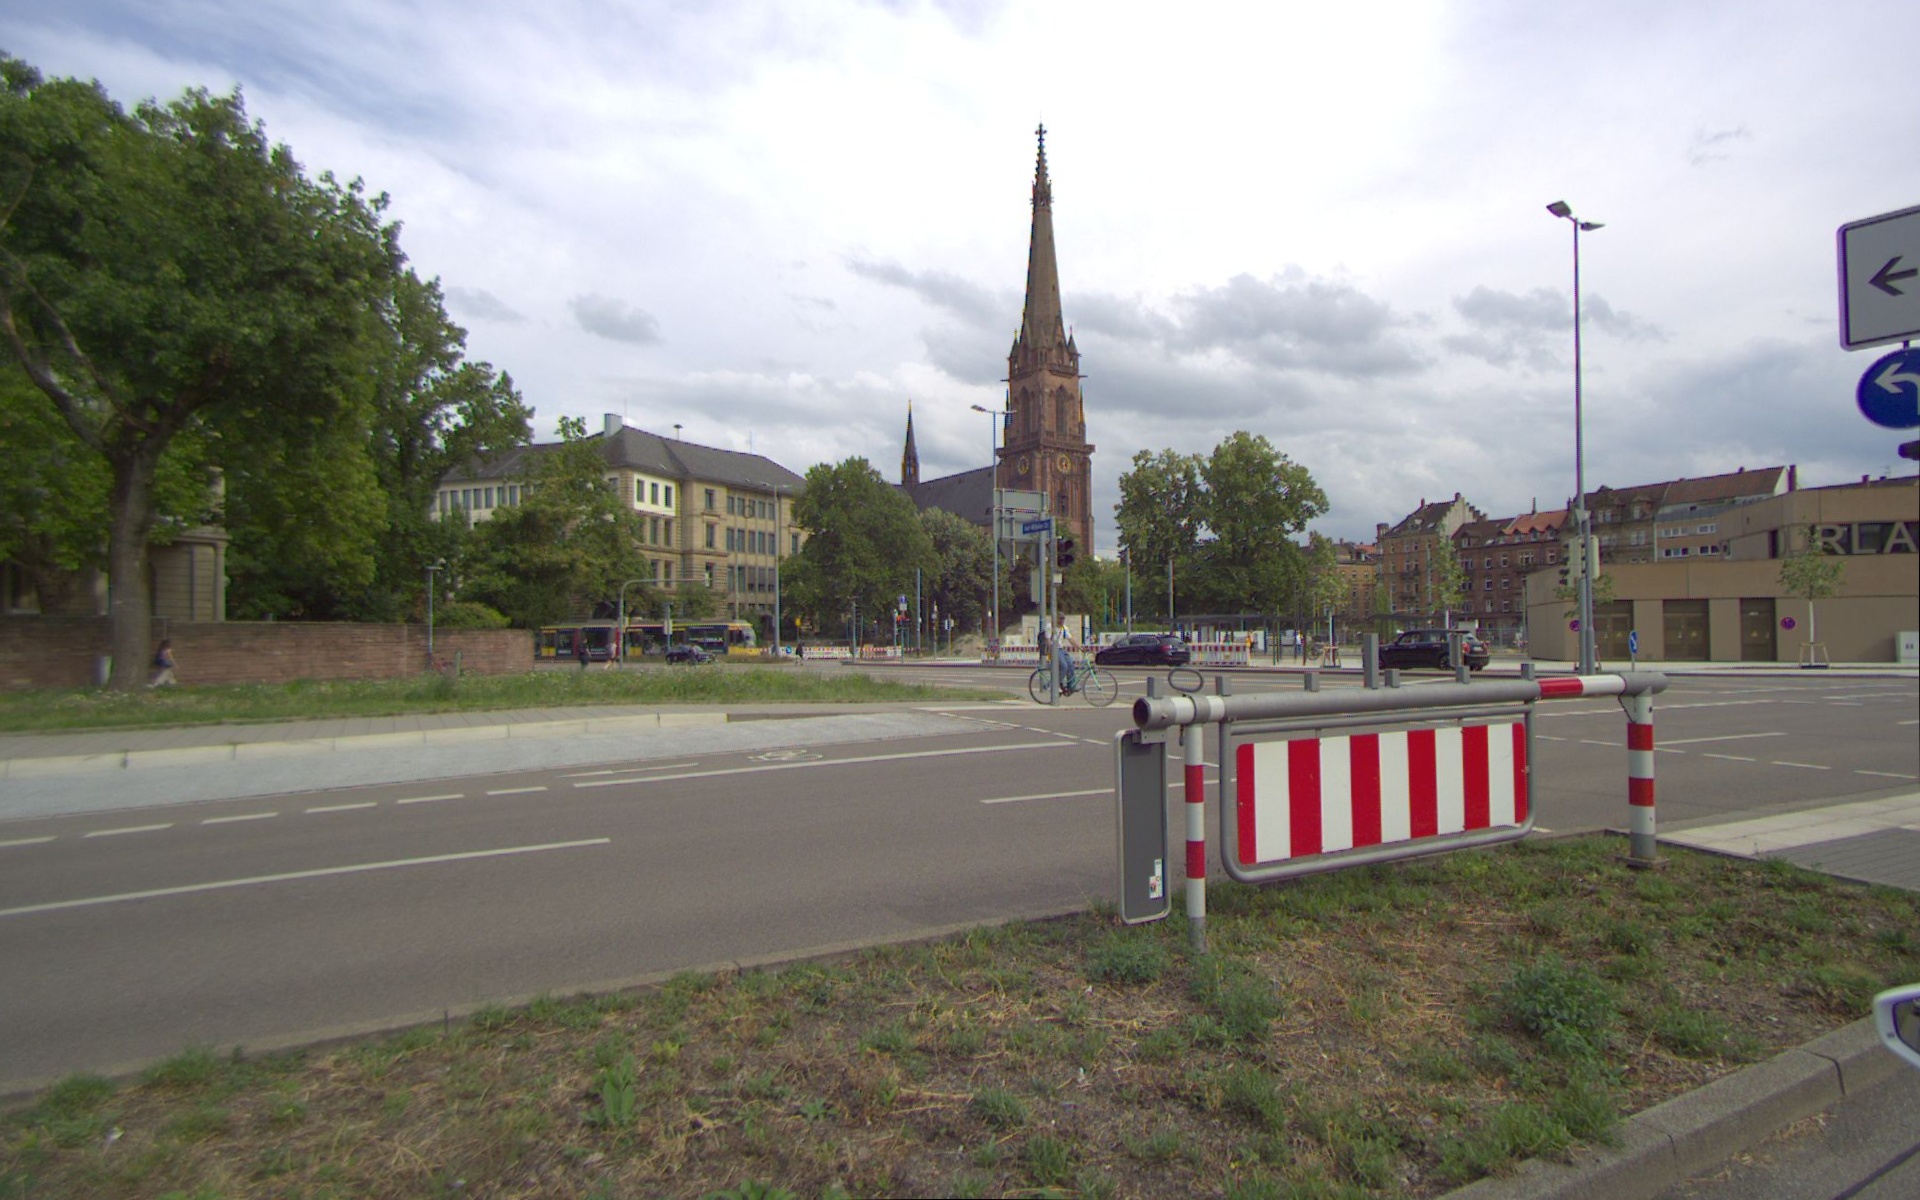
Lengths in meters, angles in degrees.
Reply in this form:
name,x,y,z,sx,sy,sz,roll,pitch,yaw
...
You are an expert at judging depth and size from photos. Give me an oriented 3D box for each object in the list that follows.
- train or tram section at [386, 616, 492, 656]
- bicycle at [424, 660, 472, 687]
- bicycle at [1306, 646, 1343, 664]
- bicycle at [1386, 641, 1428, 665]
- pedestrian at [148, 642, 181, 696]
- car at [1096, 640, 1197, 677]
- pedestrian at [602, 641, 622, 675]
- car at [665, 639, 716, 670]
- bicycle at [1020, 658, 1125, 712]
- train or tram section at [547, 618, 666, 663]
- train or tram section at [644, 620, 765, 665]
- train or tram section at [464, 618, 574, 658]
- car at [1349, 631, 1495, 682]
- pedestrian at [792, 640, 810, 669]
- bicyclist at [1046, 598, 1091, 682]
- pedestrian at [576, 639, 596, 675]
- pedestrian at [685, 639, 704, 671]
name,x,y,z,sx,sy,sz,roll,pitch,yaw
train or tram section,-47.062,3.212,90.690,9.186,3.321,3.062,1,-1,20
bicycle,-21.792,3.133,42.806,0.763,1.018,1.927,1,-1,13
bicycle,21.021,3.197,57.967,1.927,0.968,0.584,1,0,17
bicycle,23.522,2.783,52.875,1.926,1.171,0.584,1,0,11
pedestrian,-25.248,2.172,31.899,0.521,1.676,0.629,1,0,24
car,8.061,2.487,43.718,1.979,1.379,4.235,1,-1,-33
pedestrian,-17.940,2.969,51.783,0.790,1.734,0.833,1,0,-30
car,-19.331,3.845,71.968,1.985,2.040,3.951,1,-1,-41
bicycle,2.153,1.610,19.217,1.932,0.948,0.506,1,-2,12
train or tram section,-29.632,3.328,84.147,9.735,3.496,3.062,1,-1,20
train or tram section,-20.540,3.337,80.822,9.315,3.289,3.062,1,-1,20
train or tram section,-38.431,3.267,87.506,9.245,3.255,3.062,1,-1,20
car,15.227,1.818,33.257,1.982,1.506,3.956,1,-1,-38
pedestrian,-9.672,3.288,61.173,0.790,1.734,0.833,1,0,-30
bicyclist,2.086,0.772,19.276,0.782,1.575,0.580,1,-2,12
pedestrian,-18.248,2.760,49.009,0.790,1.734,0.833,1,0,-30
pedestrian,-14.862,3.085,56.207,0.790,1.734,0.833,1,0,-30
